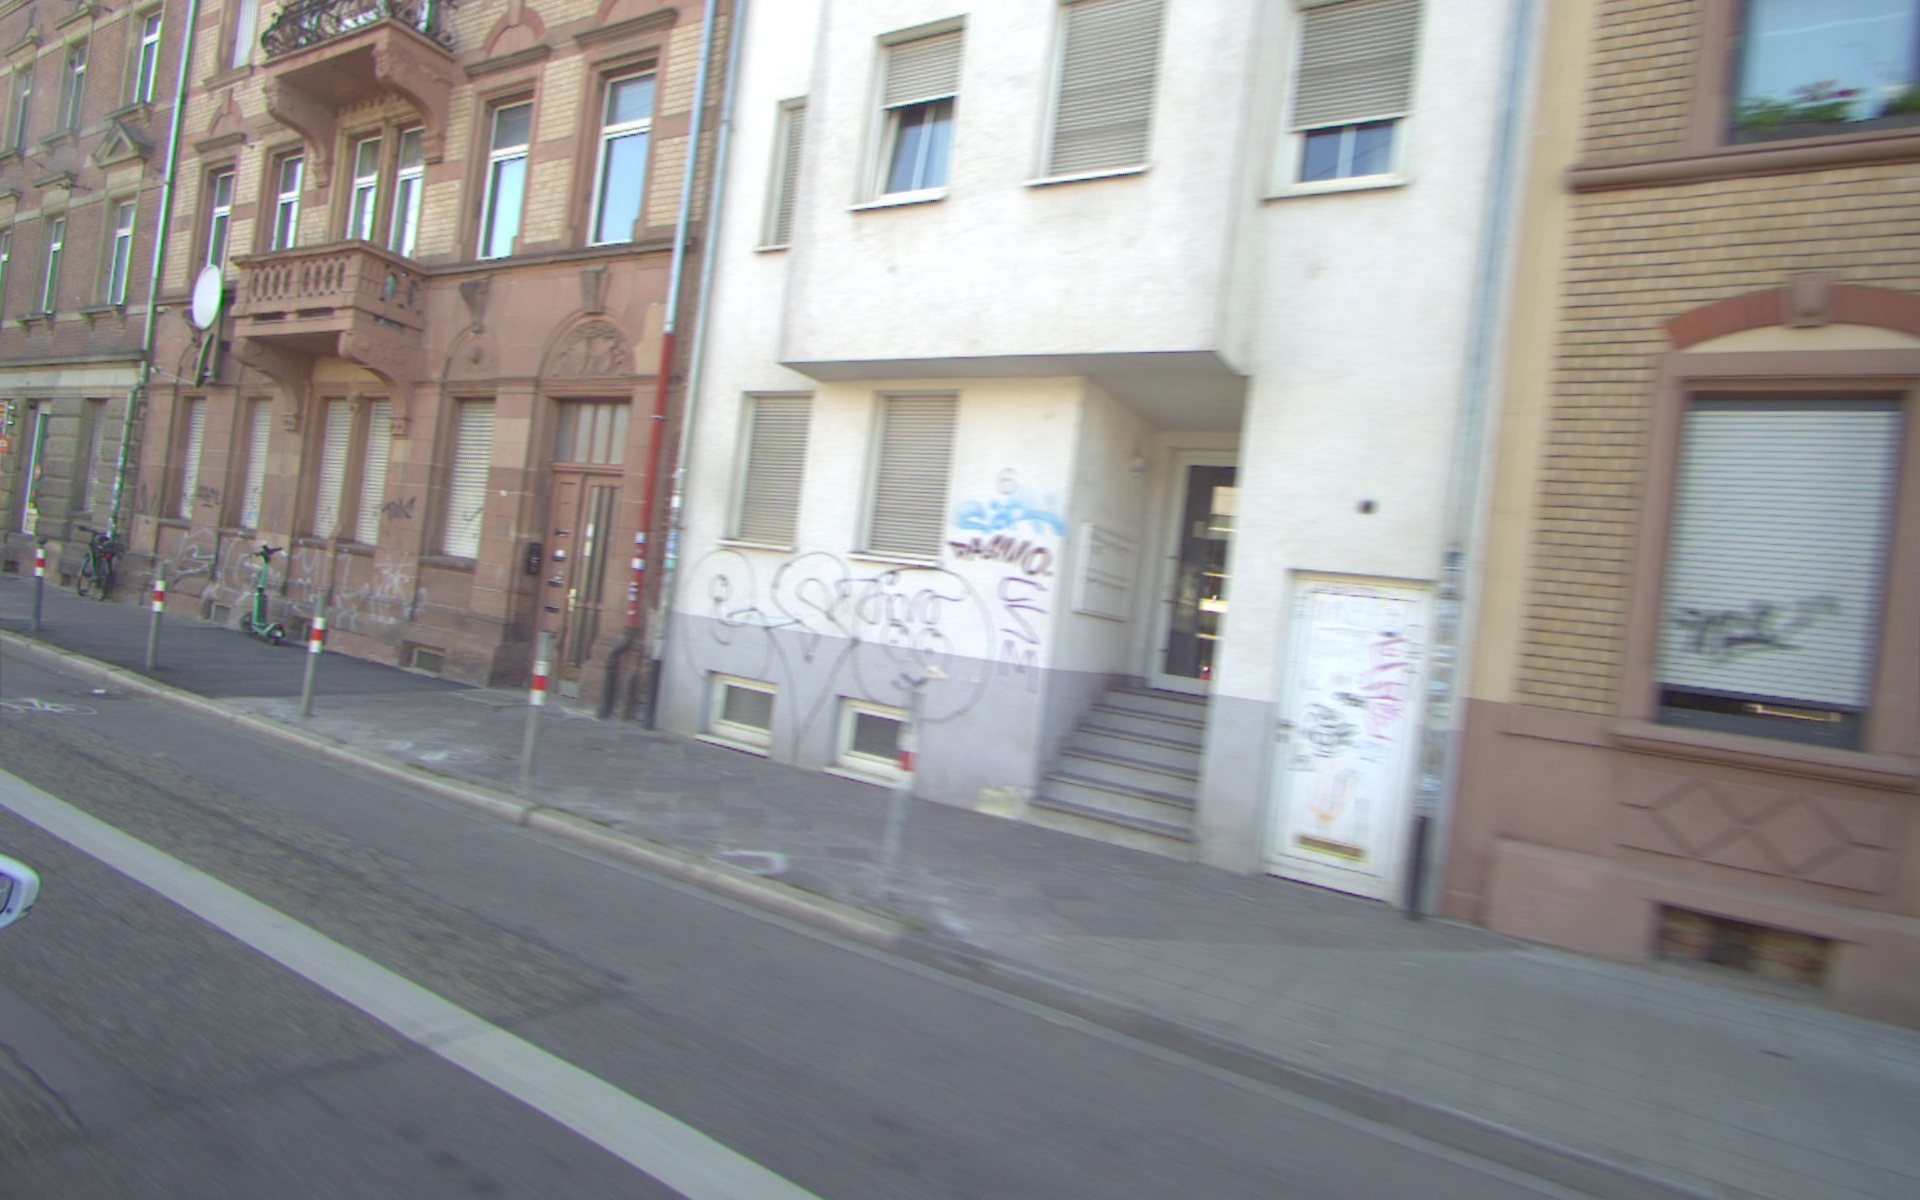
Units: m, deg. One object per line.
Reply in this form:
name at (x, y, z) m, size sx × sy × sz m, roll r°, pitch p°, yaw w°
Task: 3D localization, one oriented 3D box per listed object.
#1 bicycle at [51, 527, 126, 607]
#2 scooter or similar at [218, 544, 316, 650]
bicycle at (-14.086, -0.550, 16.243) m, size 1.868 × 1.135 × 0.409 m, roll 6°, pitch 0°, yaw 35°
scooter or similar at (-9.011, -0.045, 13.071) m, size 1.456 × 1.226 × 0.406 m, roll 6°, pitch 0°, yaw 32°
